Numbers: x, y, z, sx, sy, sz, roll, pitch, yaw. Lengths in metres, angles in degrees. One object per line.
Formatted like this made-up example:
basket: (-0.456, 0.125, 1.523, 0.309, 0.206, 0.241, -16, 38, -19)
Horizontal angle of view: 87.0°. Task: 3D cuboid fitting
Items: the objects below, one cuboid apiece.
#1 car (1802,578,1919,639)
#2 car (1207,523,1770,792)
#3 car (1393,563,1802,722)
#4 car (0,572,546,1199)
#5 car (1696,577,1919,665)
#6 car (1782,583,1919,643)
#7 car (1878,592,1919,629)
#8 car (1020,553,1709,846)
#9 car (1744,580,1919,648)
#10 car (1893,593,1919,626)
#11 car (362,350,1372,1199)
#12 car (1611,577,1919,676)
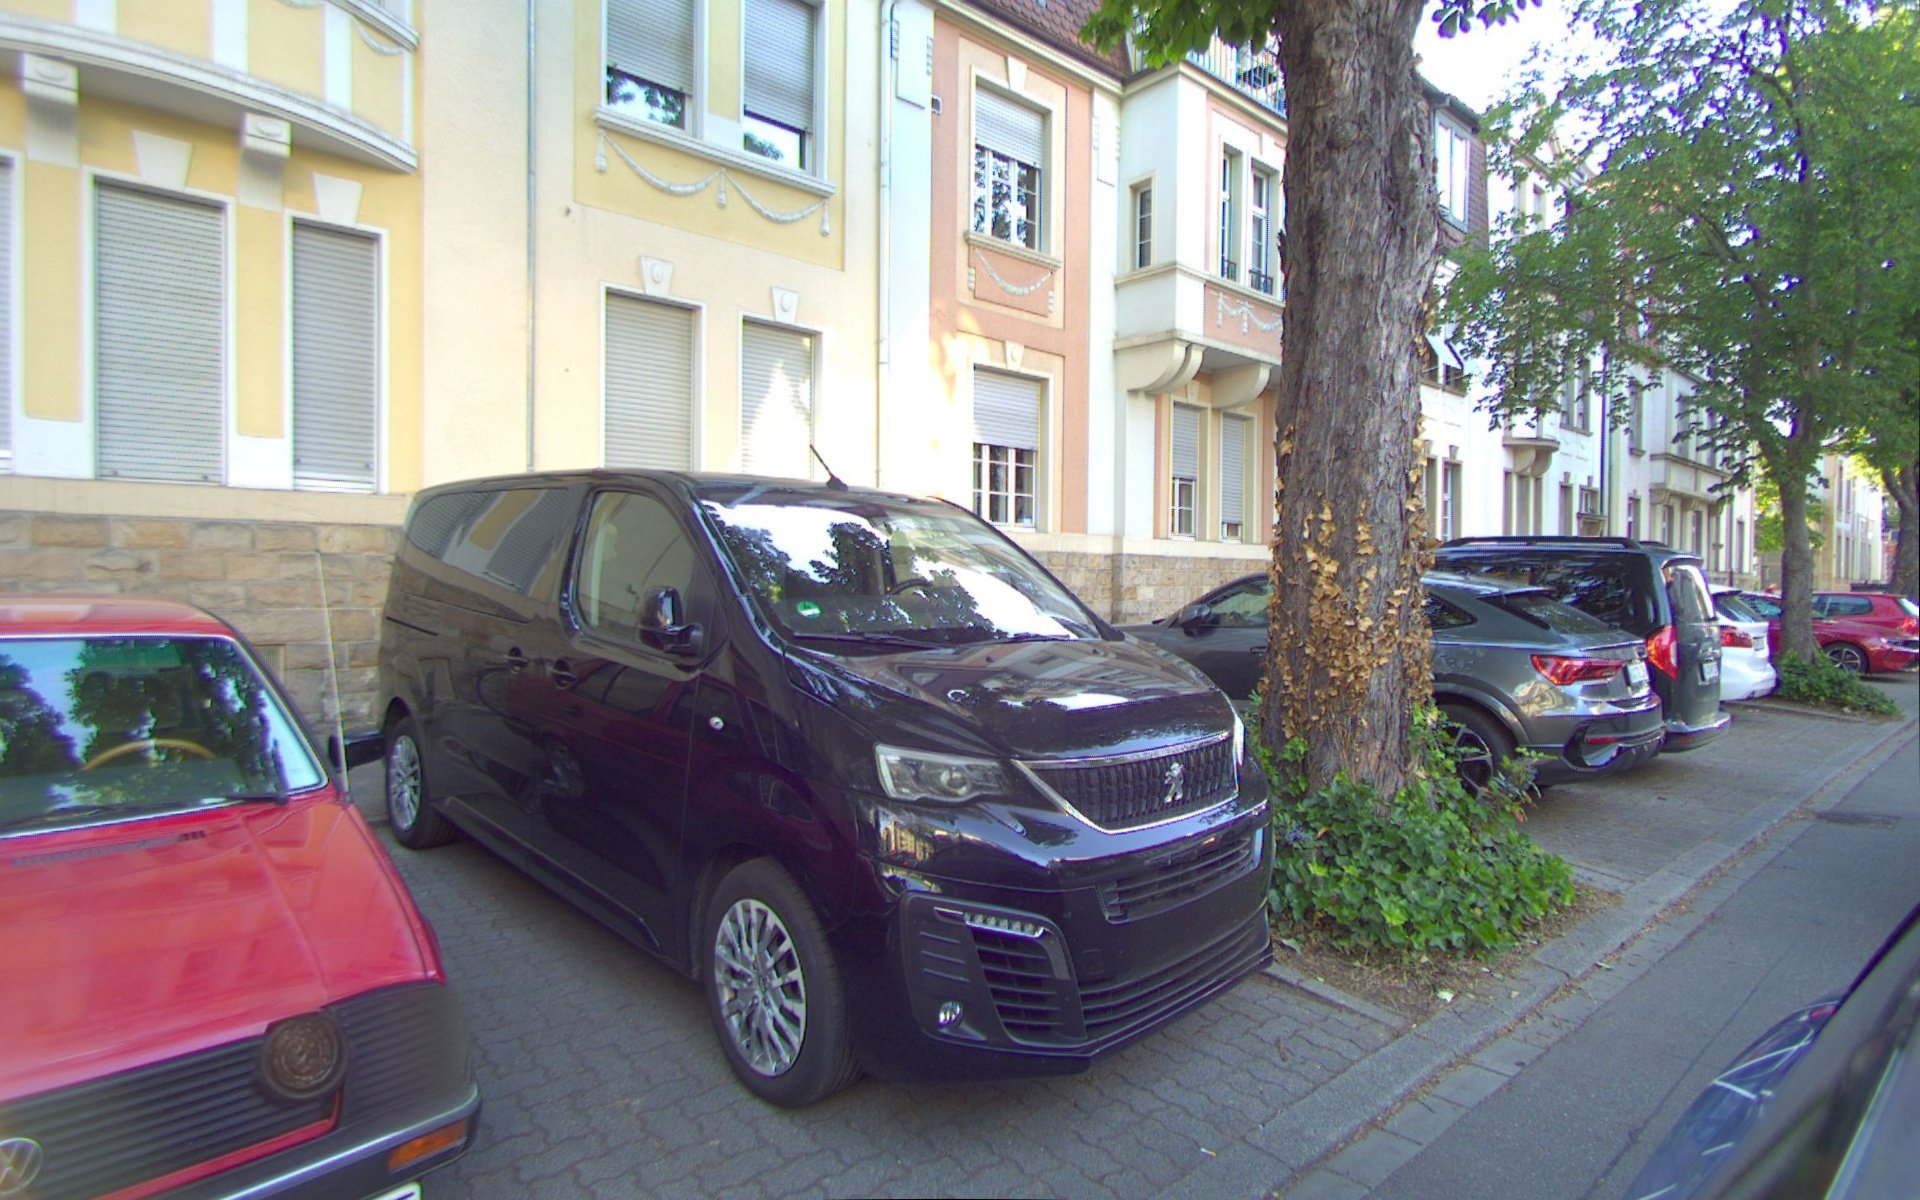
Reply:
car: (25.867, 0.230, 28.030, 1.548, 1.576, 3.681, 0, 3, -39)
car: (4.515, 0.306, 9.144, 1.814, 1.860, 4.116, 0, 3, -42)
car: (7.699, 0.375, 12.523, 1.689, 1.597, 3.948, 0, 3, -41)
car: (-2.878, 0.626, 3.034, 1.603, 1.332, 4.139, -1, 3, -44)
car: (16.892, 0.352, 19.817, 1.628, 1.499, 3.682, 0, 3, -38)
car: (24.002, 0.318, 26.410, 1.548, 1.416, 3.681, 0, 3, -39)
car: (31.892, 0.379, 32.465, 1.515, 1.164, 3.399, 0, 3, -39)
car: (2.740, 0.452, 7.700, 1.815, 1.542, 4.513, -1, 3, -44)
car: (21.850, 0.296, 24.972, 1.548, 1.484, 3.681, 0, 3, -39)
car: (34.273, 0.378, 34.528, 1.515, 1.076, 3.399, 0, 3, -39)
car: (-0.943, 0.323, 4.474, 1.867, 1.897, 4.753, -1, 3, -44)
car: (14.782, 0.381, 18.461, 1.833, 1.470, 4.533, 0, 3, -38)
